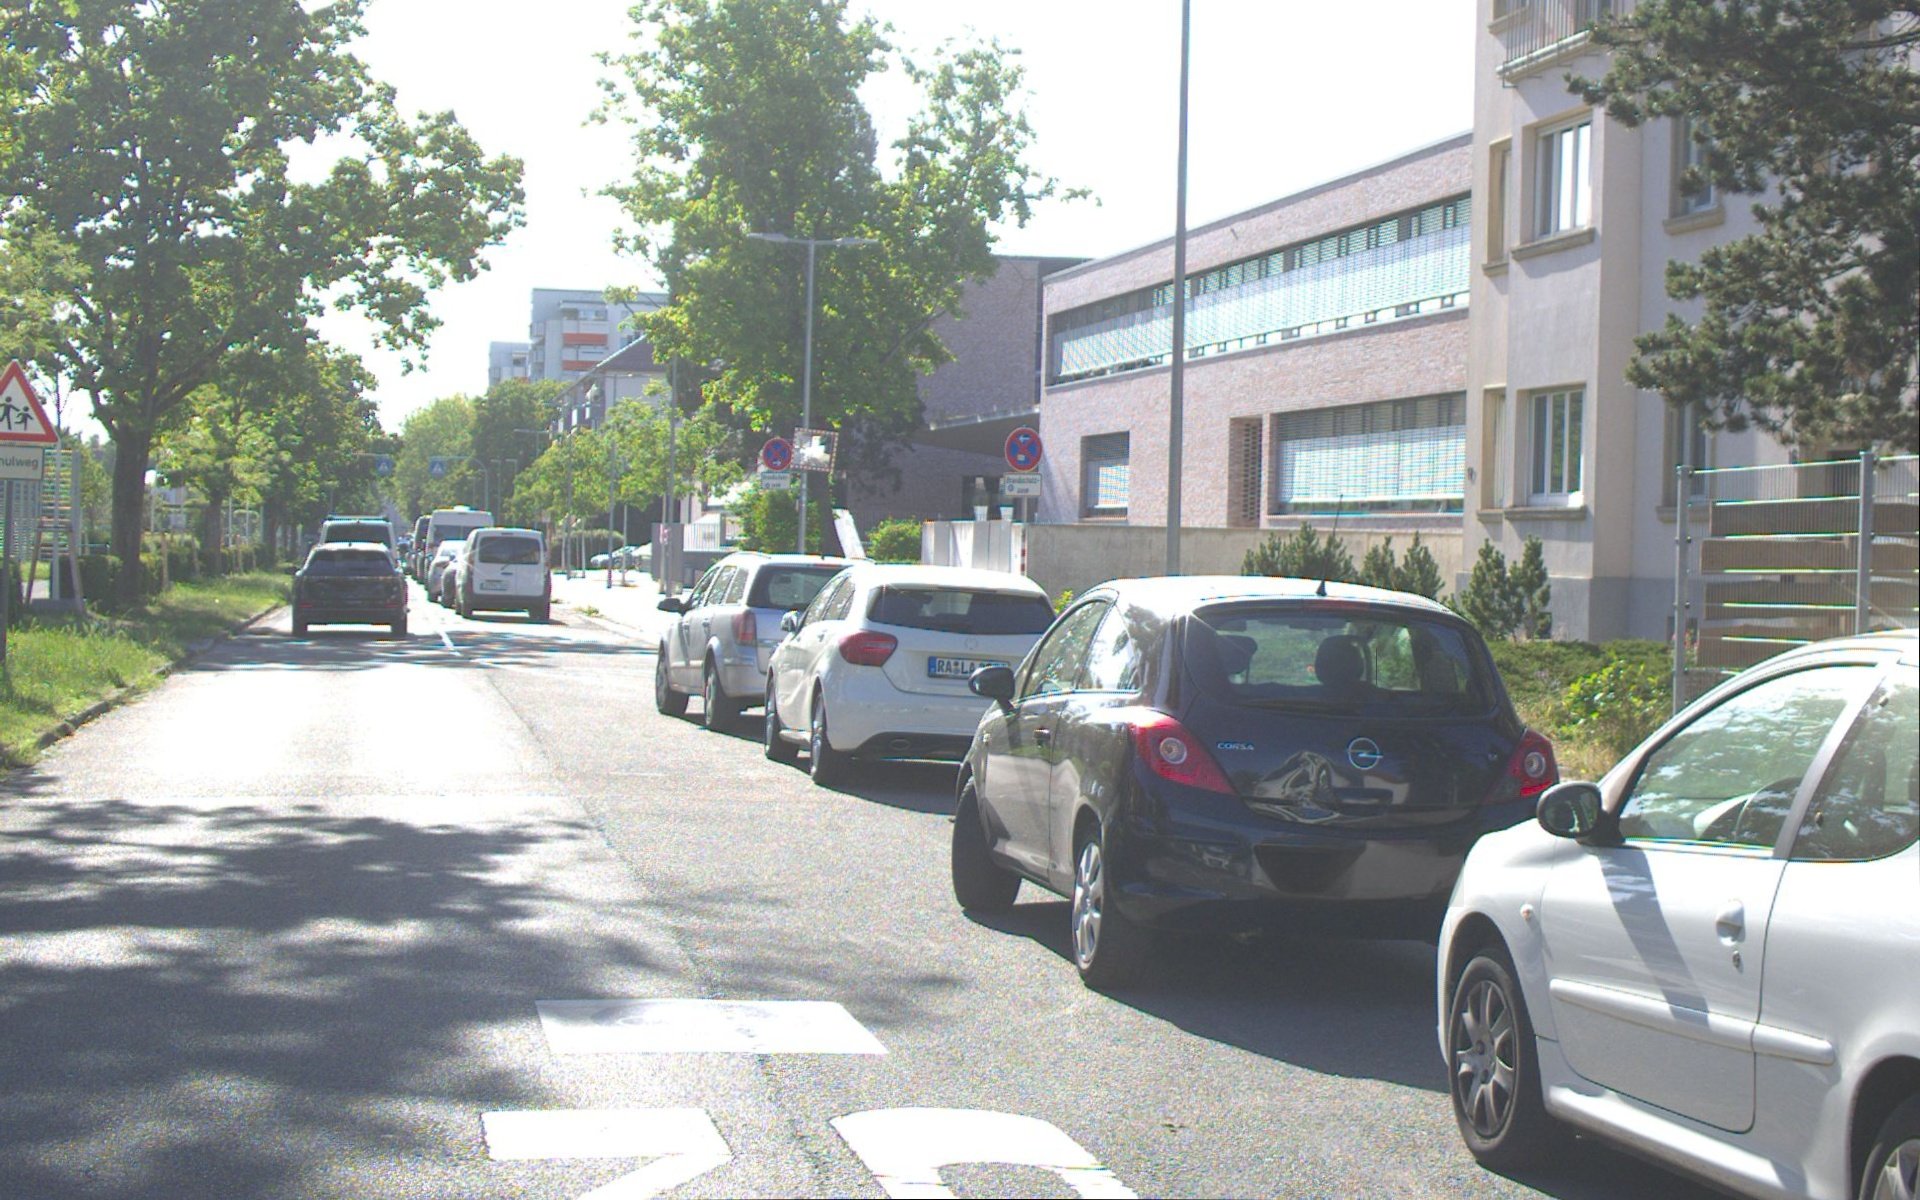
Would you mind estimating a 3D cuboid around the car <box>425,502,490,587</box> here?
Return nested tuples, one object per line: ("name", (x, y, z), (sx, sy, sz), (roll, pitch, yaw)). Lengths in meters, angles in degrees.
("car", (-15.518, -1.722, 106.004), (1.817, 2.509, 4.001), (1, 1, -10))

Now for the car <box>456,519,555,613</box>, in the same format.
("car", (-9.296, -0.708, 70.094), (1.817, 1.824, 4.001), (1, 1, -10))

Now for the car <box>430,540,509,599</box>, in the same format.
("car", (-12.300, -0.773, 85.997), (1.817, 1.395, 4.001), (1, 1, -10))

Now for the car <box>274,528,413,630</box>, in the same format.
("car", (-9.940, -0.370, 55.219), (1.993, 1.519, 4.757), (1, 1, -12))

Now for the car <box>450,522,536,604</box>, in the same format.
("car", (-10.923, -0.870, 80.304), (1.817, 1.824, 4.001), (1, 1, -10))

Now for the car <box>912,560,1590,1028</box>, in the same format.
("car", (0.963, 0.638, 13.418), (1.671, 1.489, 3.827), (2, 1, -10))

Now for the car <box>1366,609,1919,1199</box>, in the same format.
("car", (2.294, 0.791, 7.580), (1.701, 1.393, 3.778), (2, 1, -10))

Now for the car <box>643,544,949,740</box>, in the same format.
("car", (-1.489, 0.315, 29.562), (1.795, 1.489, 4.001), (2, 1, -14))

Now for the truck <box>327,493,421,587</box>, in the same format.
("truck", (-13.283, -1.369, 77.831), (1.993, 2.029, 4.876), (1, 1, -10))

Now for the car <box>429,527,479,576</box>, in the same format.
("car", (-19.852, -1.916, 134.851), (1.817, 1.828, 4.001), (1, 1, -10))

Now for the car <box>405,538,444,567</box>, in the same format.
("car", (-26.269, -2.329, 168.550), (1.817, 1.354, 4.001), (1, 1, -10))

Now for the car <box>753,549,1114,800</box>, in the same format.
("car", (-0.278, 0.443, 23.547), (1.795, 1.489, 4.001), (2, 1, -10))

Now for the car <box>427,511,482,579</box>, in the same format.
("car", (-18.080, -1.976, 122.815), (1.817, 2.345, 4.001), (1, 1, -10))
